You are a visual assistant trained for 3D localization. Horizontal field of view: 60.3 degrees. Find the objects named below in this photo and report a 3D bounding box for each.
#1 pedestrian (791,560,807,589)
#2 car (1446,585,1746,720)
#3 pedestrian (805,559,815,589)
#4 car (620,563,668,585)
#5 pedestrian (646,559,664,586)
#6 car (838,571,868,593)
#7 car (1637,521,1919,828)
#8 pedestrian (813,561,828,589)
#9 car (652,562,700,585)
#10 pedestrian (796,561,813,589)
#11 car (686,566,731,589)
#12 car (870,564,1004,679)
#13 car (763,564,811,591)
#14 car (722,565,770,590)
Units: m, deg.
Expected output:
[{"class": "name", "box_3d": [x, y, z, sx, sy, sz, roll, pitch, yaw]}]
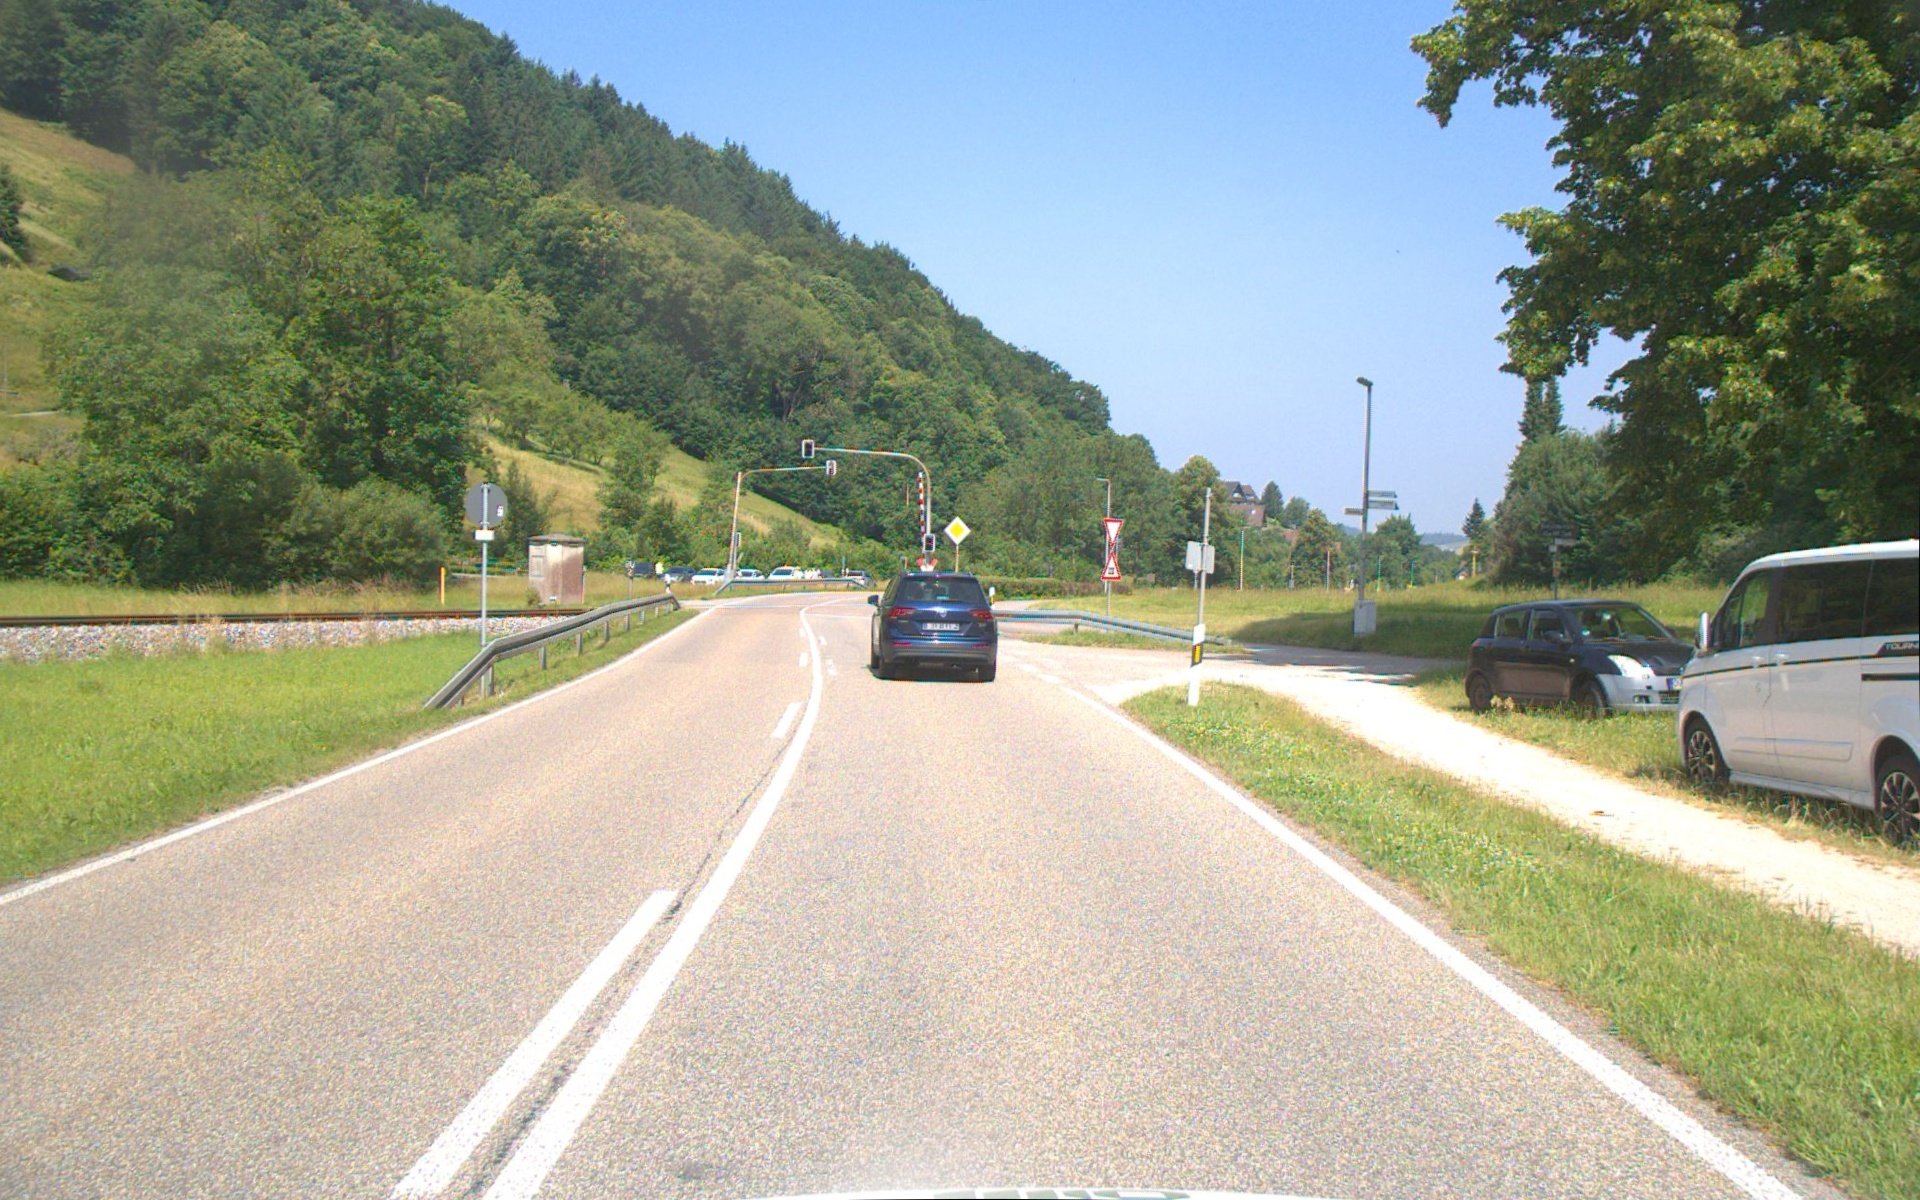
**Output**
[{"class": "pedestrian", "box_3d": [-10.591, -1.663, 108.753, 0.771, 1.874, 0.698, 1, 0, 21]}, {"class": "car", "box_3d": [7.760, 0.606, 20.543, 1.645, 1.482, 3.702, -1, 0, -14]}, {"class": "pedestrian", "box_3d": [-9.907, -1.722, 109.372, 0.646, 1.989, 0.533, 0, 1, 0]}, {"class": "car", "box_3d": [-22.479, -1.848, 117.828, 1.951, 1.527, 4.525, 1, 1, 8]}, {"class": "pedestrian", "box_3d": [-20.395, -1.825, 110.658, 0.934, 1.826, 1.000, 0, 1, 4]}, {"class": "car", "box_3d": [-7.374, -1.243, 114.331, 1.788, 1.527, 4.278, 0, 1, 1]}, {"class": "car", "box_3d": [6.885, 0.390, 11.861, 1.958, 1.880, 4.869, -4, 1, 0]}, {"class": "pedestrian", "box_3d": [-9.245, -1.653, 109.661, 0.638, 1.891, 0.766, 0, 0, 44]}, {"class": "car", "box_3d": [-20.093, -1.871, 117.225, 1.951, 1.526, 4.525, 3, 1, 8]}, {"class": "pedestrian", "box_3d": [-10.296, -1.641, 109.504, 0.756, 1.827, 0.791, 0, 0, 37]}, {"class": "car", "box_3d": [-17.699, -1.587, 116.643, 1.951, 1.527, 4.525, 1, 1, 8]}, {"class": "car", "box_3d": [-0.445, 0.301, 26.293, 1.817, 1.678, 4.135, 0, 0, -5]}, {"class": "car", "box_3d": [-12.204, -1.590, 116.802, 1.831, 1.813, 4.776, 2, 1, 13]}, {"class": "car", "box_3d": [-15.045, -1.572, 116.655, 1.951, 1.670, 4.906, 1, 1, 10]}]
